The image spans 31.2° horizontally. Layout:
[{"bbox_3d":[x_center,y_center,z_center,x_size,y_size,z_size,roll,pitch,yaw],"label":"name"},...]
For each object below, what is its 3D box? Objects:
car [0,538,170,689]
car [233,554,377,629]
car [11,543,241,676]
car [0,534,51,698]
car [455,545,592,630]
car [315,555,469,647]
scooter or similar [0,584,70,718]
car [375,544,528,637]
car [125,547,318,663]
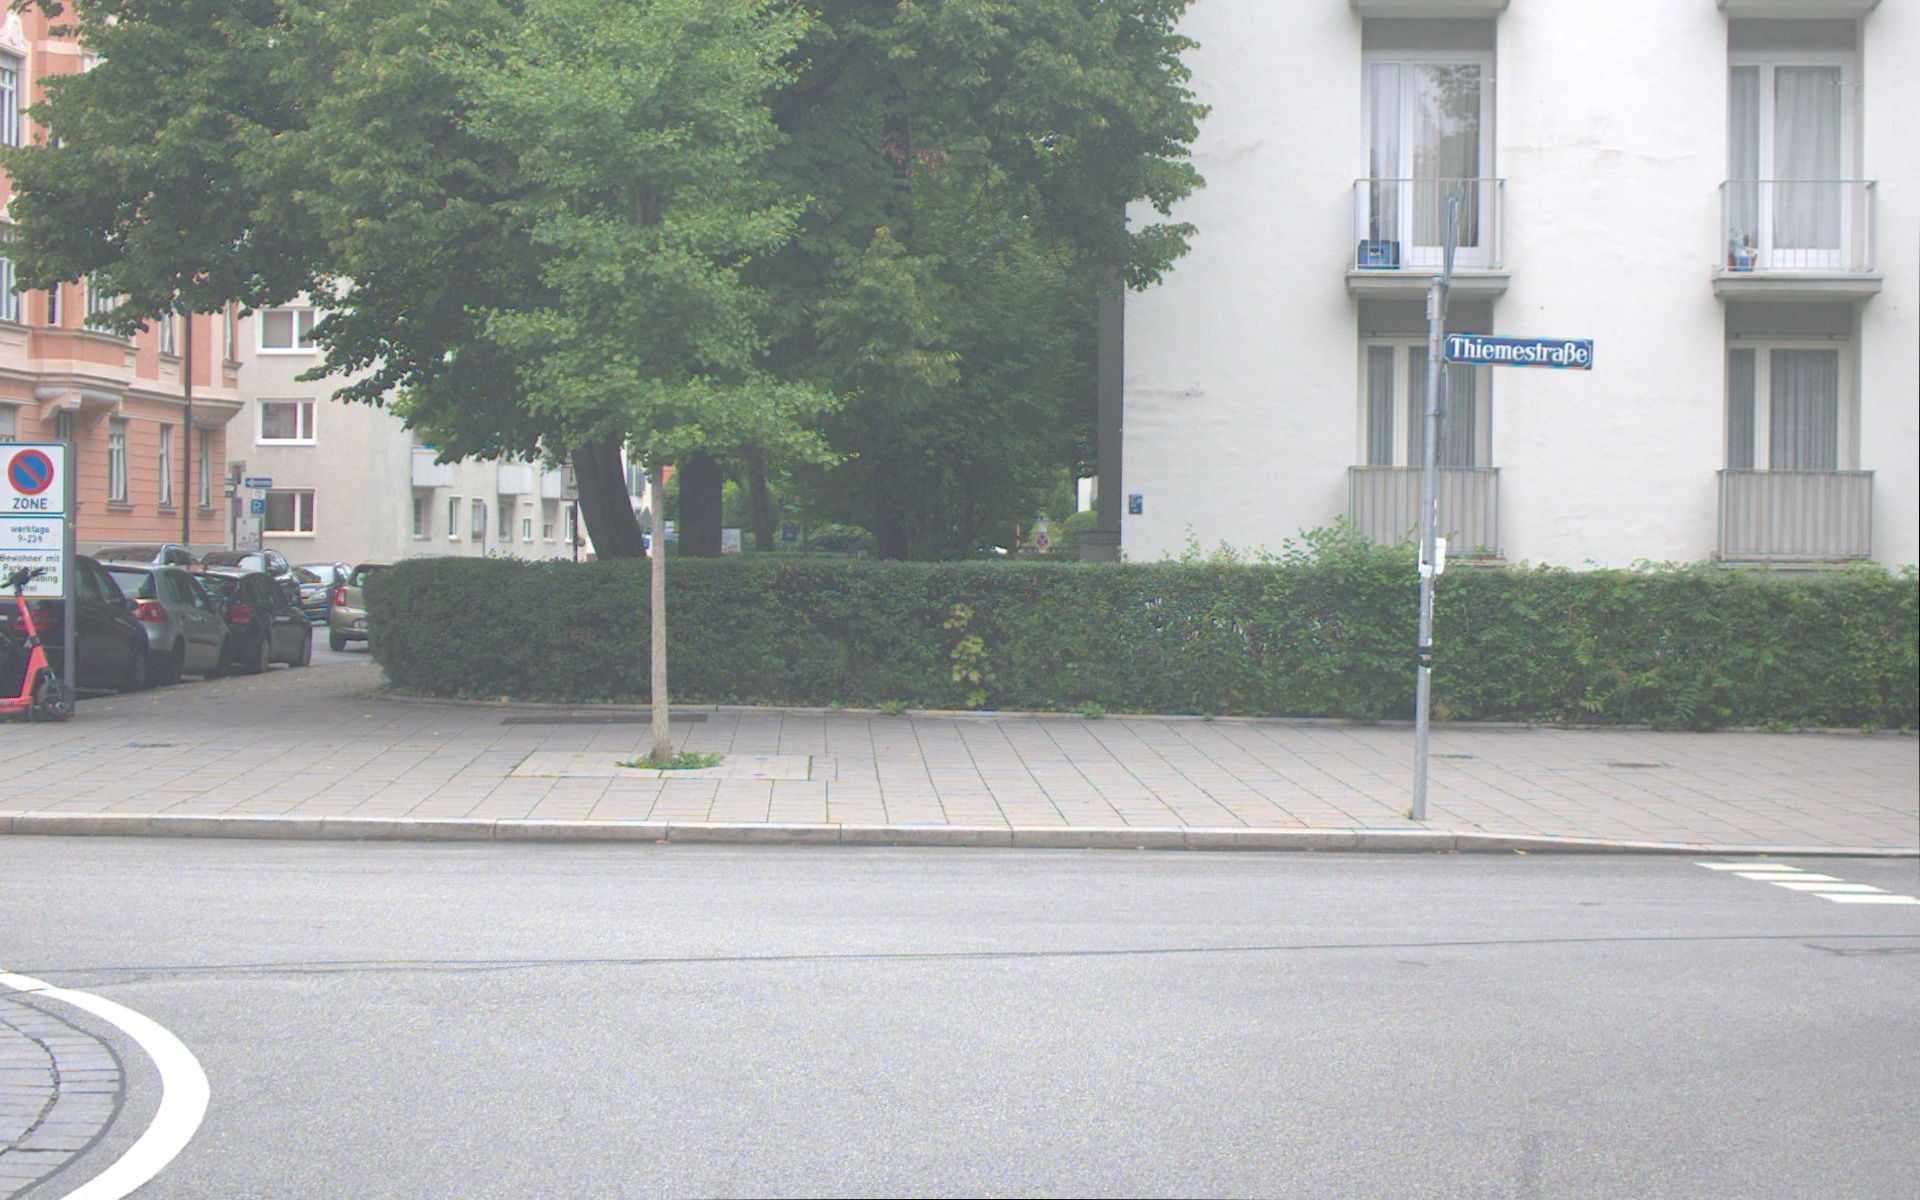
[{"bbox_3d":[-9.683,0.111,36.245,1.793,1.500,4.235,0,1,-1],"label":"car"},{"bbox_3d":[-14.711,-0.207,77.417,1.976,1.575,4.407,2,1,6],"label":"car"},{"bbox_3d":[-9.833,0.079,40.839,1.793,1.500,4.115,0,1,-1],"label":"car"},{"bbox_3d":[-9.658,0.151,30.980,1.818,1.500,4.423,0,1,-1],"label":"car"},{"bbox_3d":[-8.596,-0.262,67.982,1.835,1.629,3.819,0,1,7],"label":"car"},{"bbox_3d":[-9.492,-0.011,57.743,1.835,1.500,4.115,0,1,1],"label":"car"},{"bbox_3d":[-7.825,0.412,28.092,0.998,1.085,0.391,1,1,-23],"label":"scooter or similar"},{"bbox_3d":[-9.175,-0.191,62.344,1.835,1.629,4.114,0,1,5],"label":"car"},{"bbox_3d":[-9.960,0.042,46.635,1.793,1.500,4.115,0,1,-1],"label":"car"}]
